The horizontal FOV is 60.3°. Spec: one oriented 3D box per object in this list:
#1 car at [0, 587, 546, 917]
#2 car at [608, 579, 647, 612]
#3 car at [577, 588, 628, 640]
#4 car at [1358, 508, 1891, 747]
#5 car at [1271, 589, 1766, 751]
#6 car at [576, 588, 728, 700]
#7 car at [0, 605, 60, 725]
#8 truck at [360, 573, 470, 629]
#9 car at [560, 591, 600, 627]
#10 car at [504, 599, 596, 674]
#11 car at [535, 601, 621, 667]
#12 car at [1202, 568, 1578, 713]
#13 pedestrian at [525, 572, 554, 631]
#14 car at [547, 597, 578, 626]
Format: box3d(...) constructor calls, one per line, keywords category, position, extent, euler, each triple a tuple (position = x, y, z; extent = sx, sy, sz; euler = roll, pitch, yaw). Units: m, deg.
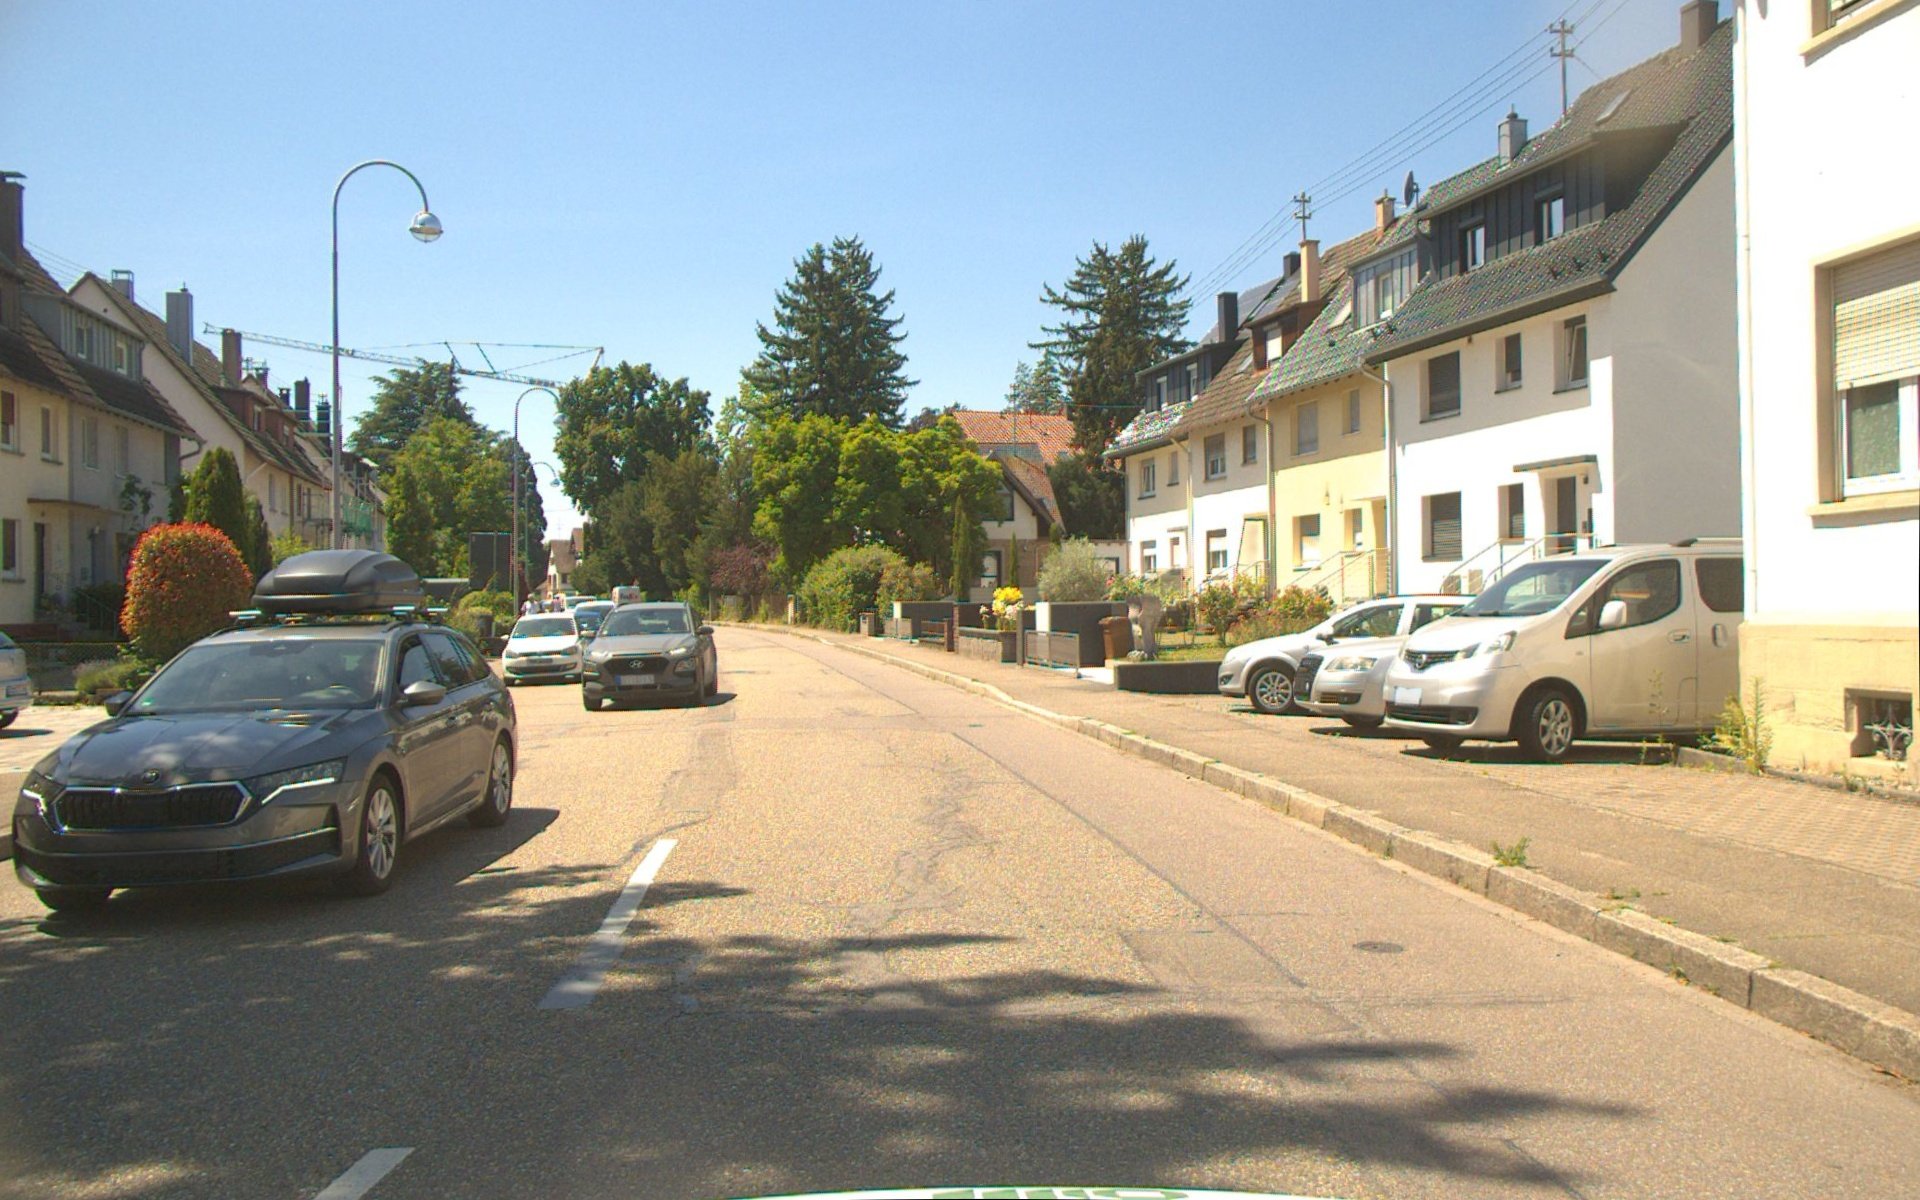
box3d(category="car", position=(-3.953, 0.726, 10.127), extent=(1.769, 1.514, 4.385), euler=(-2, 0, -1))
box3d(category="car", position=(-25.327, -0.325, 125.868), extent=(2.113, 2.356, 4.823), euler=(-2, 1, -20))
box3d(category="car", position=(-13.074, 0.499, 60.657), extent=(1.692, 1.766, 3.876), euler=(-3, 0, -11))
box3d(category="car", position=(5.906, 0.267, 14.791), extent=(4.220, 1.863, 1.732), euler=(2, 0, -16))
box3d(category="car", position=(5.739, 0.704, 17.272), extent=(4.551, 1.433, 1.766), euler=(2, 0, -6))
box3d(category="car", position=(-4.744, 0.637, 26.000), extent=(1.706, 1.531, 4.140), euler=(-3, 0, -2))
box3d(category="car", position=(-13.919, 0.782, 20.581), extent=(4.380, 1.466, 1.845), euler=(0, 0, -4))
box3d(category="truck", position=(-20.256, 0.023, 61.616), extent=(3.703, 1.971, 1.541), euler=(-1, 0, -13))
box3d(category="car", position=(-21.247, 0.494, 92.325), extent=(1.856, 1.914, 4.957), euler=(-2, 0, -17))
box3d(category="car", position=(-8.843, 0.741, 35.909), extent=(1.549, 1.448, 3.932), euler=(-3, 1, -9))
box3d(category="car", position=(-9.581, 0.820, 41.747), extent=(1.736, 1.464, 4.353), euler=(-3, 1, -9))
box3d(category="car", position=(5.265, 0.468, 20.284), extent=(4.205, 1.575, 1.755), euler=(1, -2, 25))
box3d(category="pedestrian", position=(-14.124, 0.061, 55.541), extent=(0.676, 1.922, 1.017), euler=(4, -2, -6))
box3d(category="car", position=(-25.287, 0.713, 105.134), extent=(1.622, 1.782, 4.333), euler=(-2, 0, -17))
